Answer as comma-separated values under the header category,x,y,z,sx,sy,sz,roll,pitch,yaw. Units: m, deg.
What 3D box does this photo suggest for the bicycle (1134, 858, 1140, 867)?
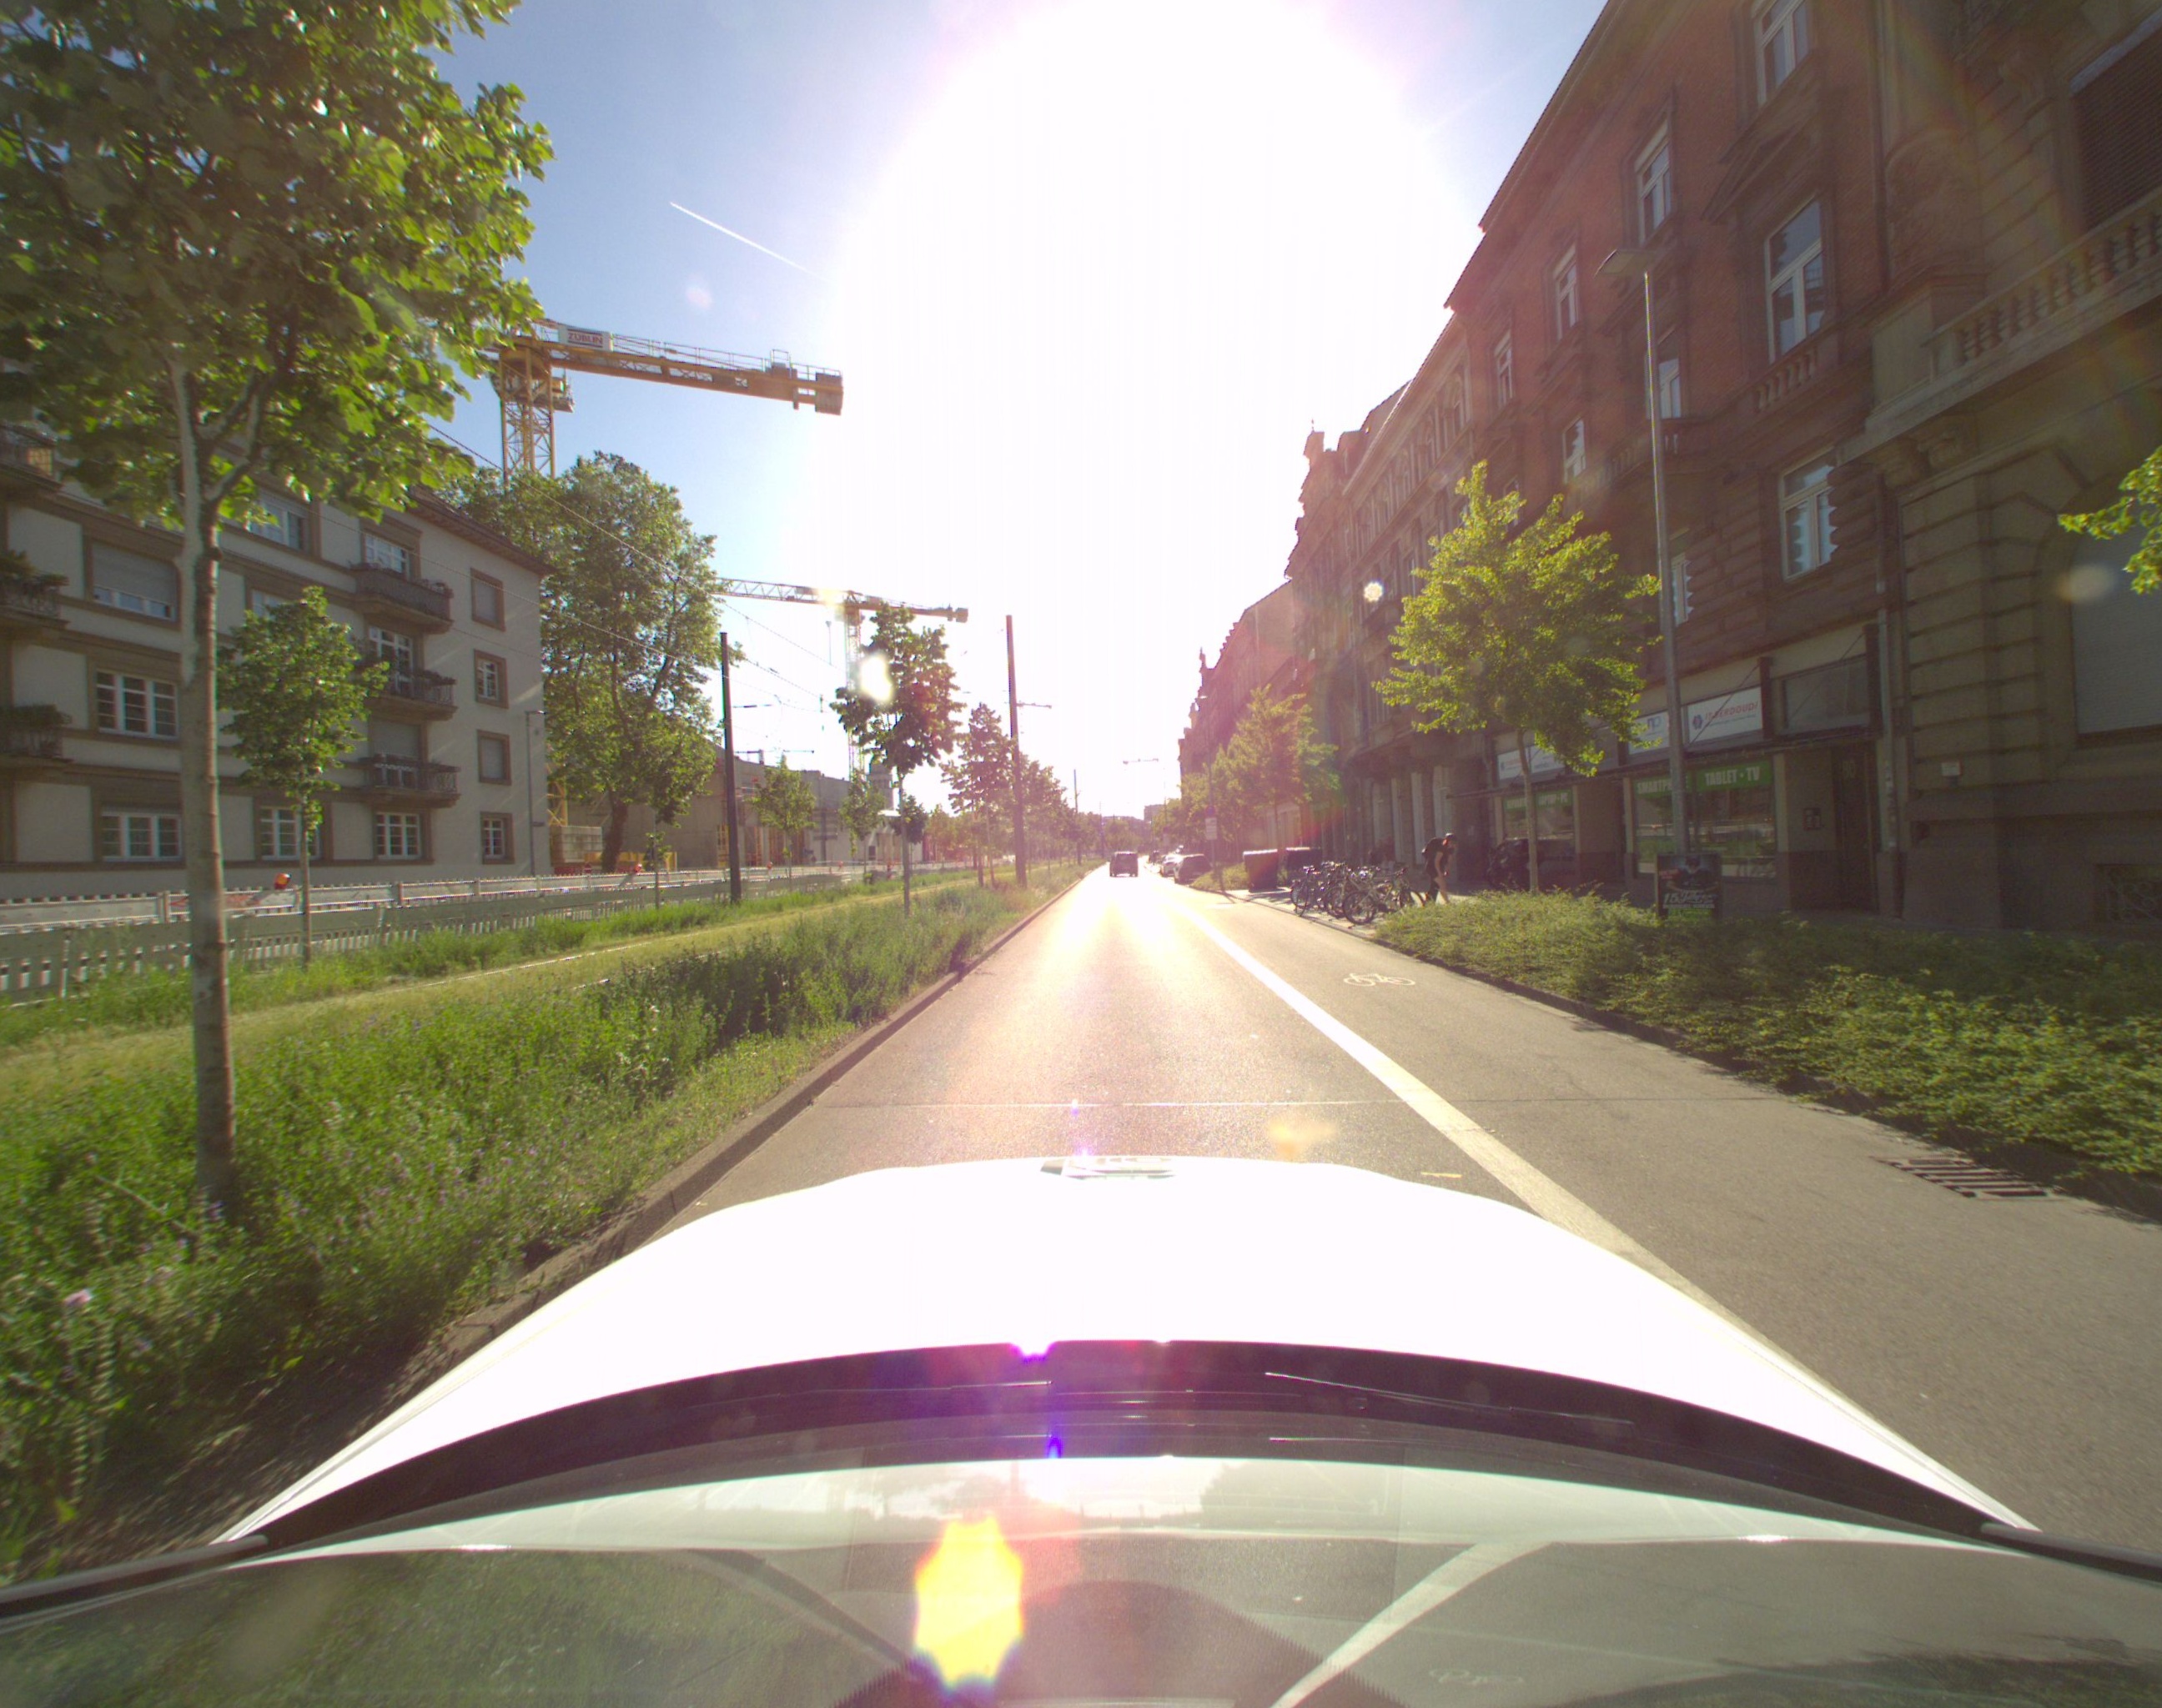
category,x,y,z,sx,sy,sz,roll,pitch,yaw
bicycle,7.458,1.164,108.573,0.698,1.091,2.278,-2,0,2

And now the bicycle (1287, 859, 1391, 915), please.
category,x,y,z,sx,sy,sz,roll,pitch,yaw
bicycle,5.981,0.749,18.857,2.287,1.102,0.484,-4,-1,-13

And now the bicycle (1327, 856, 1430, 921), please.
category,x,y,z,sx,sy,sz,roll,pitch,yaw
bicycle,5.916,0.679,16.229,1.860,1.179,0.373,-3,-1,-1

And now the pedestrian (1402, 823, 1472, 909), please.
category,x,y,z,sx,sy,sz,roll,pitch,yaw
pedestrian,7.666,0.269,17.572,0.852,1.735,0.894,-6,-1,-30

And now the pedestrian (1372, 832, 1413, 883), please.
category,x,y,z,sx,sy,sz,roll,pitch,yaw
pedestrian,10.578,0.106,27.694,0.967,1.639,0.993,-4,1,2

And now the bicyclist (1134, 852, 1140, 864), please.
category,x,y,z,sx,sy,sz,roll,pitch,yaw
bicyclist,7.434,0.526,108.672,0.680,1.584,0.840,-2,0,2

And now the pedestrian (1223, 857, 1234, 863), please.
category,x,y,z,sx,sy,sz,roll,pitch,yaw
pedestrian,13.914,0.544,76.943,0.770,0.553,2.008,-3,0,2

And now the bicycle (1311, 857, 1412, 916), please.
category,x,y,z,sx,sy,sz,roll,pitch,yaw
bicycle,6.082,0.703,17.688,1.971,1.108,0.435,-4,-1,-1

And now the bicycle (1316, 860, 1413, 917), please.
category,x,y,z,sx,sy,sz,roll,pitch,yaw
bicycle,6.027,0.734,17.345,1.811,1.056,0.571,-4,-1,-4

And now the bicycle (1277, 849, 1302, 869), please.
category,x,y,z,sx,sy,sz,roll,pitch,yaw
bicycle,12.531,0.291,48.997,0.873,1.104,2.181,-5,0,-1

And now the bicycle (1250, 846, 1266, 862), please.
category,x,y,z,sx,sy,sz,roll,pitch,yaw
bicycle,13.042,-0.009,60.130,0.718,1.090,2.200,-4,0,3

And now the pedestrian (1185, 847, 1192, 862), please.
category,x,y,z,sx,sy,sz,roll,pitch,yaw
pedestrian,14.474,0.115,109.688,0.814,2.013,1.047,-2,0,2

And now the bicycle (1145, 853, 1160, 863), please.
category,x,y,z,sx,sy,sz,roll,pitch,yaw
bicycle,9.987,0.619,113.868,1.875,1.233,0.499,-5,-1,-4

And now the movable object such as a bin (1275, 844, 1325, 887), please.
category,x,y,z,sx,sy,sz,roll,pitch,yaw
movable object such as a bin,8.327,0.445,31.061,1.368,1.495,1.750,-5,-1,3

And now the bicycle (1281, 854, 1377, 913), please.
category,x,y,z,sx,sy,sz,roll,pitch,yaw
bicycle,5.852,0.679,19.205,2.148,1.154,0.428,-6,0,-12

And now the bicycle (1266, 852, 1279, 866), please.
category,x,y,z,sx,sy,sz,roll,pitch,yaw
bicycle,13.039,0.321,55.542,0.445,0.945,2.013,-2,0,2

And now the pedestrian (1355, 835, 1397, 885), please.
category,x,y,z,sx,sy,sz,roll,pitch,yaw
pedestrian,9.776,0.194,27.038,0.947,1.566,1.080,-4,1,2

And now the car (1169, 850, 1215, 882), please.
category,x,y,z,sx,sy,sz,roll,pitch,yaw
car,5.914,0.667,43.845,1.760,1.477,4.447,-5,-1,0

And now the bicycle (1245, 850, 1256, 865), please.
category,x,y,z,sx,sy,sz,roll,pitch,yaw
bicycle,13.379,0.274,64.467,0.479,1.090,2.058,-4,0,3

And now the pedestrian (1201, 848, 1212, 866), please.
category,x,y,z,sx,sy,sz,roll,pitch,yaw
pedestrian,12.765,0.319,82.898,0.992,1.731,0.866,-2,-1,2

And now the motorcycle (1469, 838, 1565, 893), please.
category,x,y,z,sx,sy,sz,roll,pitch,yaw
motorcycle,10.882,0.279,20.499,0.862,1.266,2.983,-2,-1,2

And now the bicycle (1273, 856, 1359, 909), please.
category,x,y,z,sx,sy,sz,roll,pitch,yaw
bicycle,5.957,0.714,20.695,1.970,1.124,0.481,-6,1,-4

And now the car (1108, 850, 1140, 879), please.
category,x,y,z,sx,sy,sz,roll,pitch,yaw
car,3.157,0.759,60.369,1.989,2.014,3.996,-2,-1,-2

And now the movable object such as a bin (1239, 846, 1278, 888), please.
category,x,y,z,sx,sy,sz,roll,pitch,yaw
movable object such as a bin,6.730,0.476,30.930,1.264,1.463,1.647,-1,2,7

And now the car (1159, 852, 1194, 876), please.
category,x,y,z,sx,sy,sz,roll,pitch,yaw
car,6.567,0.663,56.546,1.944,1.495,5.108,-4,0,2

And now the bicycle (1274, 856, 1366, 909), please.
category,x,y,z,sx,sy,sz,roll,pitch,yaw
bicycle,5.946,0.706,20.287,2.040,1.107,0.610,-5,-1,-4

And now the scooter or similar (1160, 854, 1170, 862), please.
category,x,y,z,sx,sy,sz,roll,pitch,yaw
scooter or similar,11.447,0.548,110.966,1.214,1.106,0.784,-4,0,5

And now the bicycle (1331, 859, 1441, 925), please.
category,x,y,z,sx,sy,sz,roll,pitch,yaw
bicycle,5.926,0.732,15.874,1.887,1.108,0.517,-4,-1,-3
